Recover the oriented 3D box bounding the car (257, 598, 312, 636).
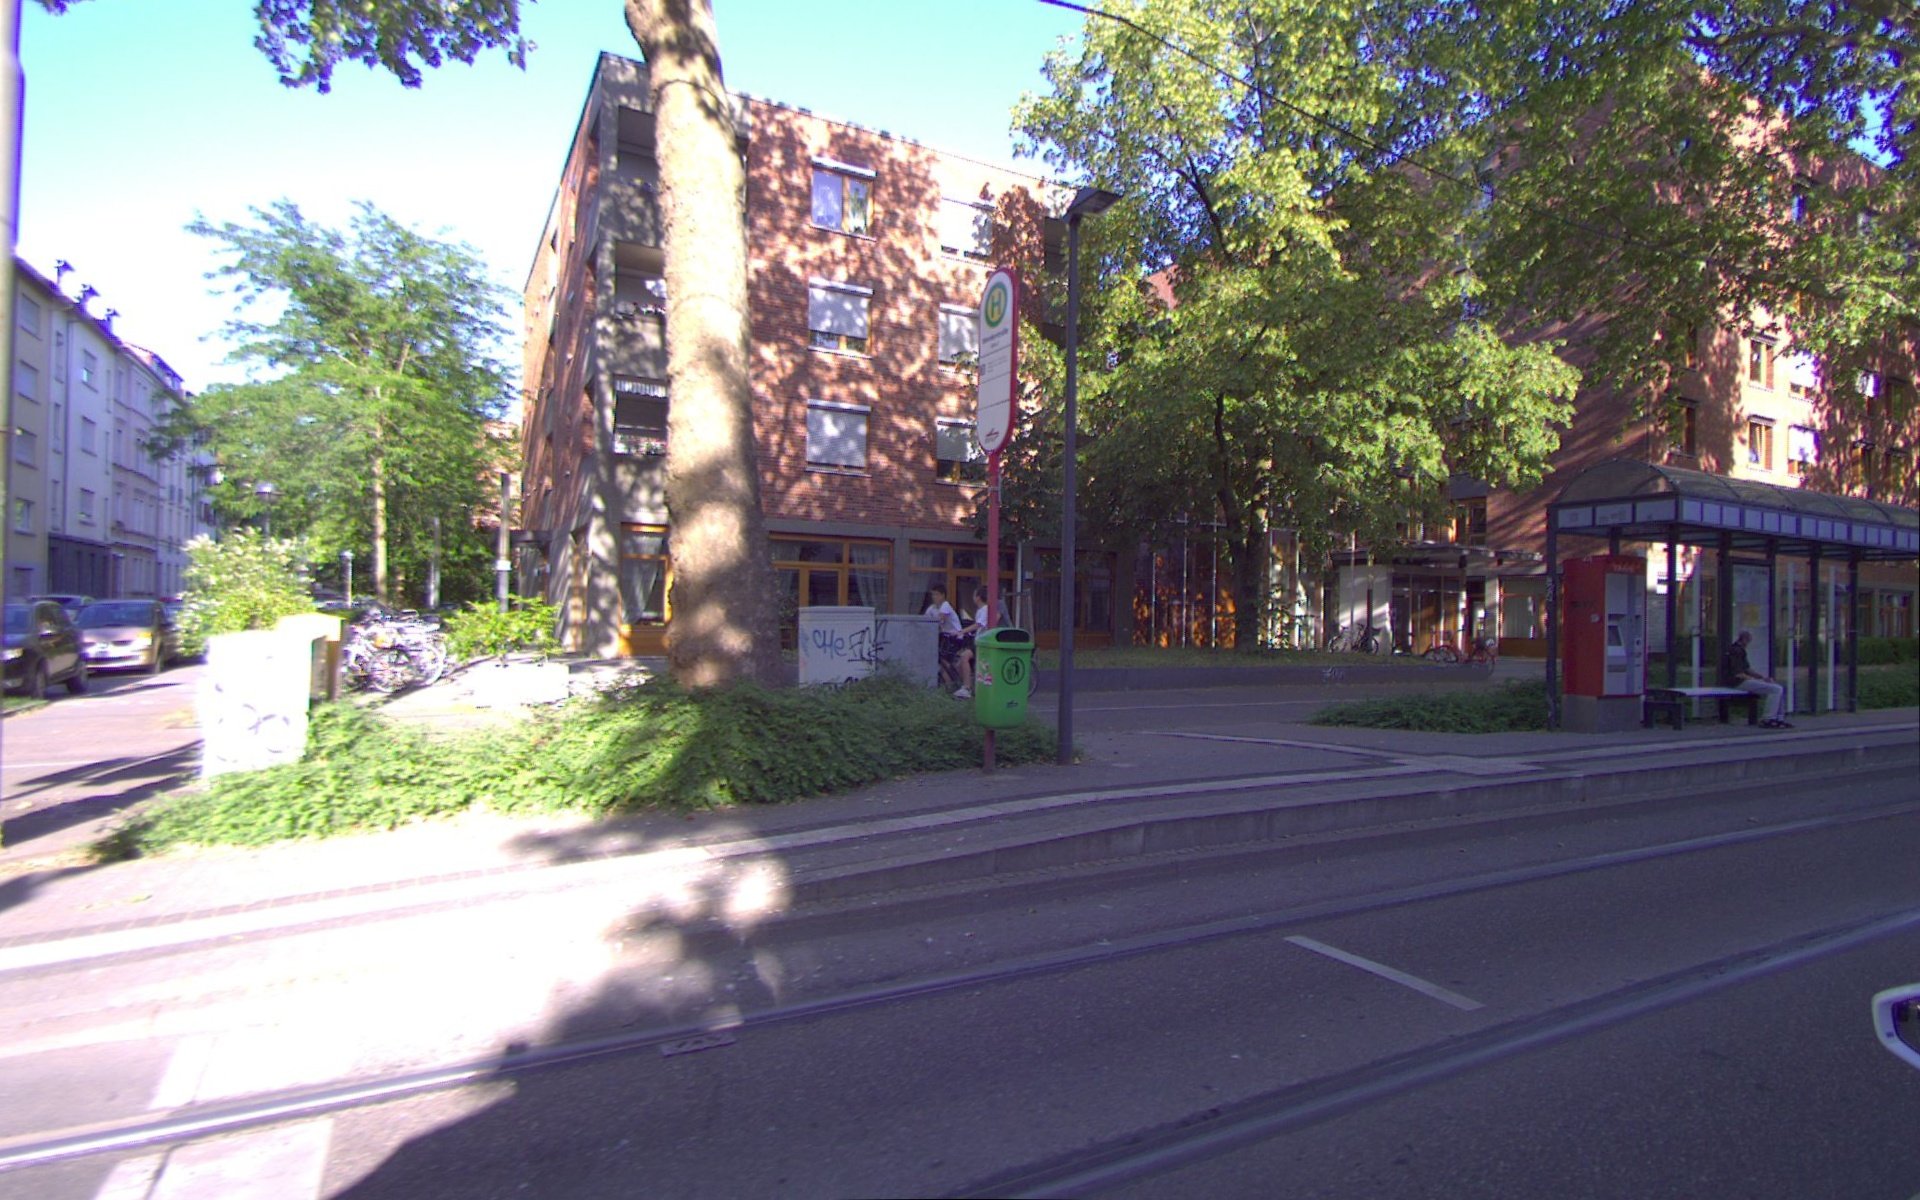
[{"bbox_3d":[-32.613,0.791,48.569,1.802,1.728,3.969,2,0,-29],"label":"car"}]

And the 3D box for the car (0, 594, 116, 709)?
[{"bbox_3d":[-14.641,0.698,15.280,1.976,1.528,3.969,2,0,-29],"label":"car"}]

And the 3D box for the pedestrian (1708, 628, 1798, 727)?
[{"bbox_3d":[9.858,0.945,12.497,0.652,1.184,0.701,2,-2,-32],"label":"pedestrian"}]

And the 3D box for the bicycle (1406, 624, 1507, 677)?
[{"bbox_3d":[12.515,1.257,25.417,0.673,1.182,2.331,2,0,-27],"label":"bicycle"}]

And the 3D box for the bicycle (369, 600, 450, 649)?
[{"bbox_3d":[-12.940,0.575,23.636,1.619,1.098,0.539,2,0,-30],"label":"bicycle"}]

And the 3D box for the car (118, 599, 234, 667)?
[{"bbox_3d":[-21.164,0.851,27.280,1.846,1.684,3.969,2,0,-29],"label":"car"}]

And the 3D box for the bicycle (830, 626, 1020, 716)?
[{"bbox_3d":[-0.450,0.957,13.852,2.567,1.125,0.778,2,0,-32],"label":"bicycle"}]

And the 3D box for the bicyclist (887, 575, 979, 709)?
[{"bbox_3d":[-0.377,0.561,13.868,0.986,1.773,0.770,2,0,-31],"label":"bicyclist"}]

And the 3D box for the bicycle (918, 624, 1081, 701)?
[{"bbox_3d":[0.654,0.972,15.961,2.567,1.125,0.778,2,0,-32],"label":"bicycle"}]

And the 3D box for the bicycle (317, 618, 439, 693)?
[{"bbox_3d":[-9.203,0.859,15.932,1.619,1.099,0.539,-1,1,-30],"label":"bicycle"}]

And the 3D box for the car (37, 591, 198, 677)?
[{"bbox_3d":[-18.255,0.706,21.982,1.937,1.684,3.969,2,-1,-29],"label":"car"}]

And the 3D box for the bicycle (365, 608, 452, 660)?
[{"bbox_3d":[-12.097,0.747,22.059,1.619,1.098,0.539,2,0,-30],"label":"bicycle"}]

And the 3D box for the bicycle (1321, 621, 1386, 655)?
[{"bbox_3d":[13.449,1.292,34.390,0.760,1.087,1.921,2,0,-44],"label":"bicycle"}]

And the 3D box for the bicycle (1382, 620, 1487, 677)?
[{"bbox_3d":[11.879,1.185,25.248,0.673,1.235,2.448,2,1,-27],"label":"bicycle"}]

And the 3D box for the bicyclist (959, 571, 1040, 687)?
[{"bbox_3d":[0.629,0.447,15.934,0.986,1.773,0.770,2,0,-32],"label":"bicyclist"}]

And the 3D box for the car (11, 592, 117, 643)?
[{"bbox_3d":[-32.378,0.595,36.432,1.976,1.706,3.969,2,0,-29],"label":"car"}]

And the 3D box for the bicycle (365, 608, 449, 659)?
[{"bbox_3d":[-12.479,0.761,22.674,1.619,1.098,0.539,2,0,-30],"label":"bicycle"}]

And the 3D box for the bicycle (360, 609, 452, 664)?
[{"bbox_3d":[-11.497,0.767,20.865,1.619,1.098,0.539,2,0,-30],"label":"bicycle"}]

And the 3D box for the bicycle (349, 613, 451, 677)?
[{"bbox_3d":[-10.387,0.810,18.660,1.619,1.099,0.539,-1,1,-30],"label":"bicycle"}]

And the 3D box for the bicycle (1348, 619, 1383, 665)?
[{"bbox_3d":[11.548,1.177,28.639,0.668,1.235,1.501,2,0,13],"label":"bicycle"}]

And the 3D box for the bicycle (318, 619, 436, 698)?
[{"bbox_3d":[-8.905,0.877,15.382,1.519,1.099,0.539,-1,1,-30],"label":"bicycle"}]

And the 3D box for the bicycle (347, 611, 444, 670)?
[{"bbox_3d":[-10.954,0.776,19.532,1.619,1.098,0.539,0,0,-30],"label":"bicycle"}]

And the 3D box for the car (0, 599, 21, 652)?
[{"bbox_3d":[-27.699,0.706,27.500,1.976,1.477,3.969,2,0,-29],"label":"car"}]

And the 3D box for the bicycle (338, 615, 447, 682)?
[{"bbox_3d":[-9.863,0.818,17.493,1.619,1.099,0.539,0,1,-30],"label":"bicycle"}]

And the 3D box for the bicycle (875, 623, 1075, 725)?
[{"bbox_3d":[0.232,0.933,13.058,2.567,1.207,0.778,2,0,-32],"label":"bicycle"}]

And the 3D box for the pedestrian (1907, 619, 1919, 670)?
[{"bbox_3d":[32.514,1.493,33.778,0.850,1.694,0.732,2,0,-28],"label":"pedestrian"}]

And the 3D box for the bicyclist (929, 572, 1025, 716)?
[{"bbox_3d":[0.214,0.556,13.043,0.940,1.786,0.778,2,0,-31],"label":"bicyclist"}]
